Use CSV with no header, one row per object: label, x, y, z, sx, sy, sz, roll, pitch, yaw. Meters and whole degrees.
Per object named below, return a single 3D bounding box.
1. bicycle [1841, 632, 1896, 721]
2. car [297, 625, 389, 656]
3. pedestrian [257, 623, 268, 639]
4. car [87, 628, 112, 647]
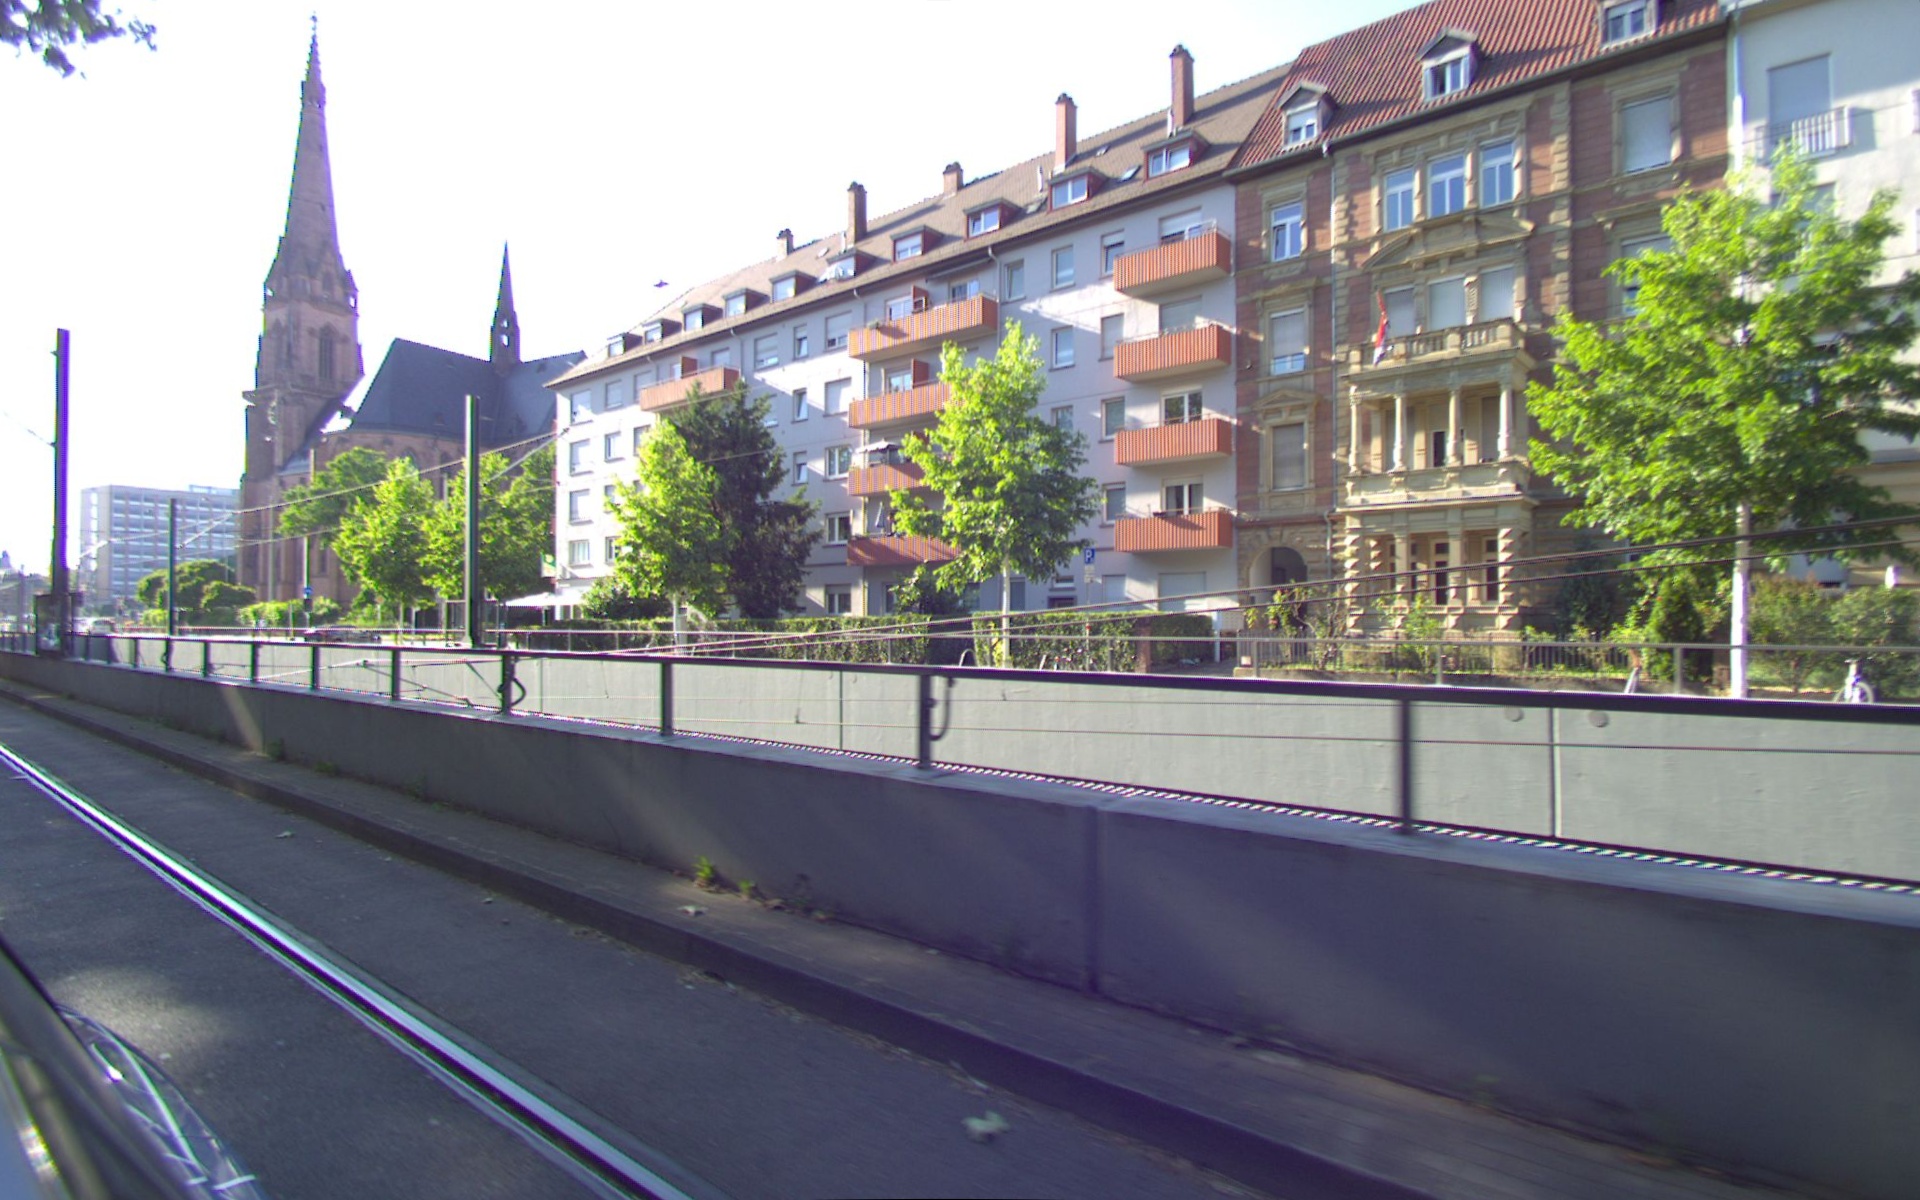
bicycle,13.833,1.130,15.400,0.562,1.187,1.788,-2,1,43
car,-35.530,2.289,58.423,1.959,1.515,4.385,-2,1,16
pedestrian,-63.616,2.829,92.292,0.945,1.500,0.580,-2,0,38
car,-94.205,4.071,110.852,1.968,2.029,5.020,3,-3,-40
